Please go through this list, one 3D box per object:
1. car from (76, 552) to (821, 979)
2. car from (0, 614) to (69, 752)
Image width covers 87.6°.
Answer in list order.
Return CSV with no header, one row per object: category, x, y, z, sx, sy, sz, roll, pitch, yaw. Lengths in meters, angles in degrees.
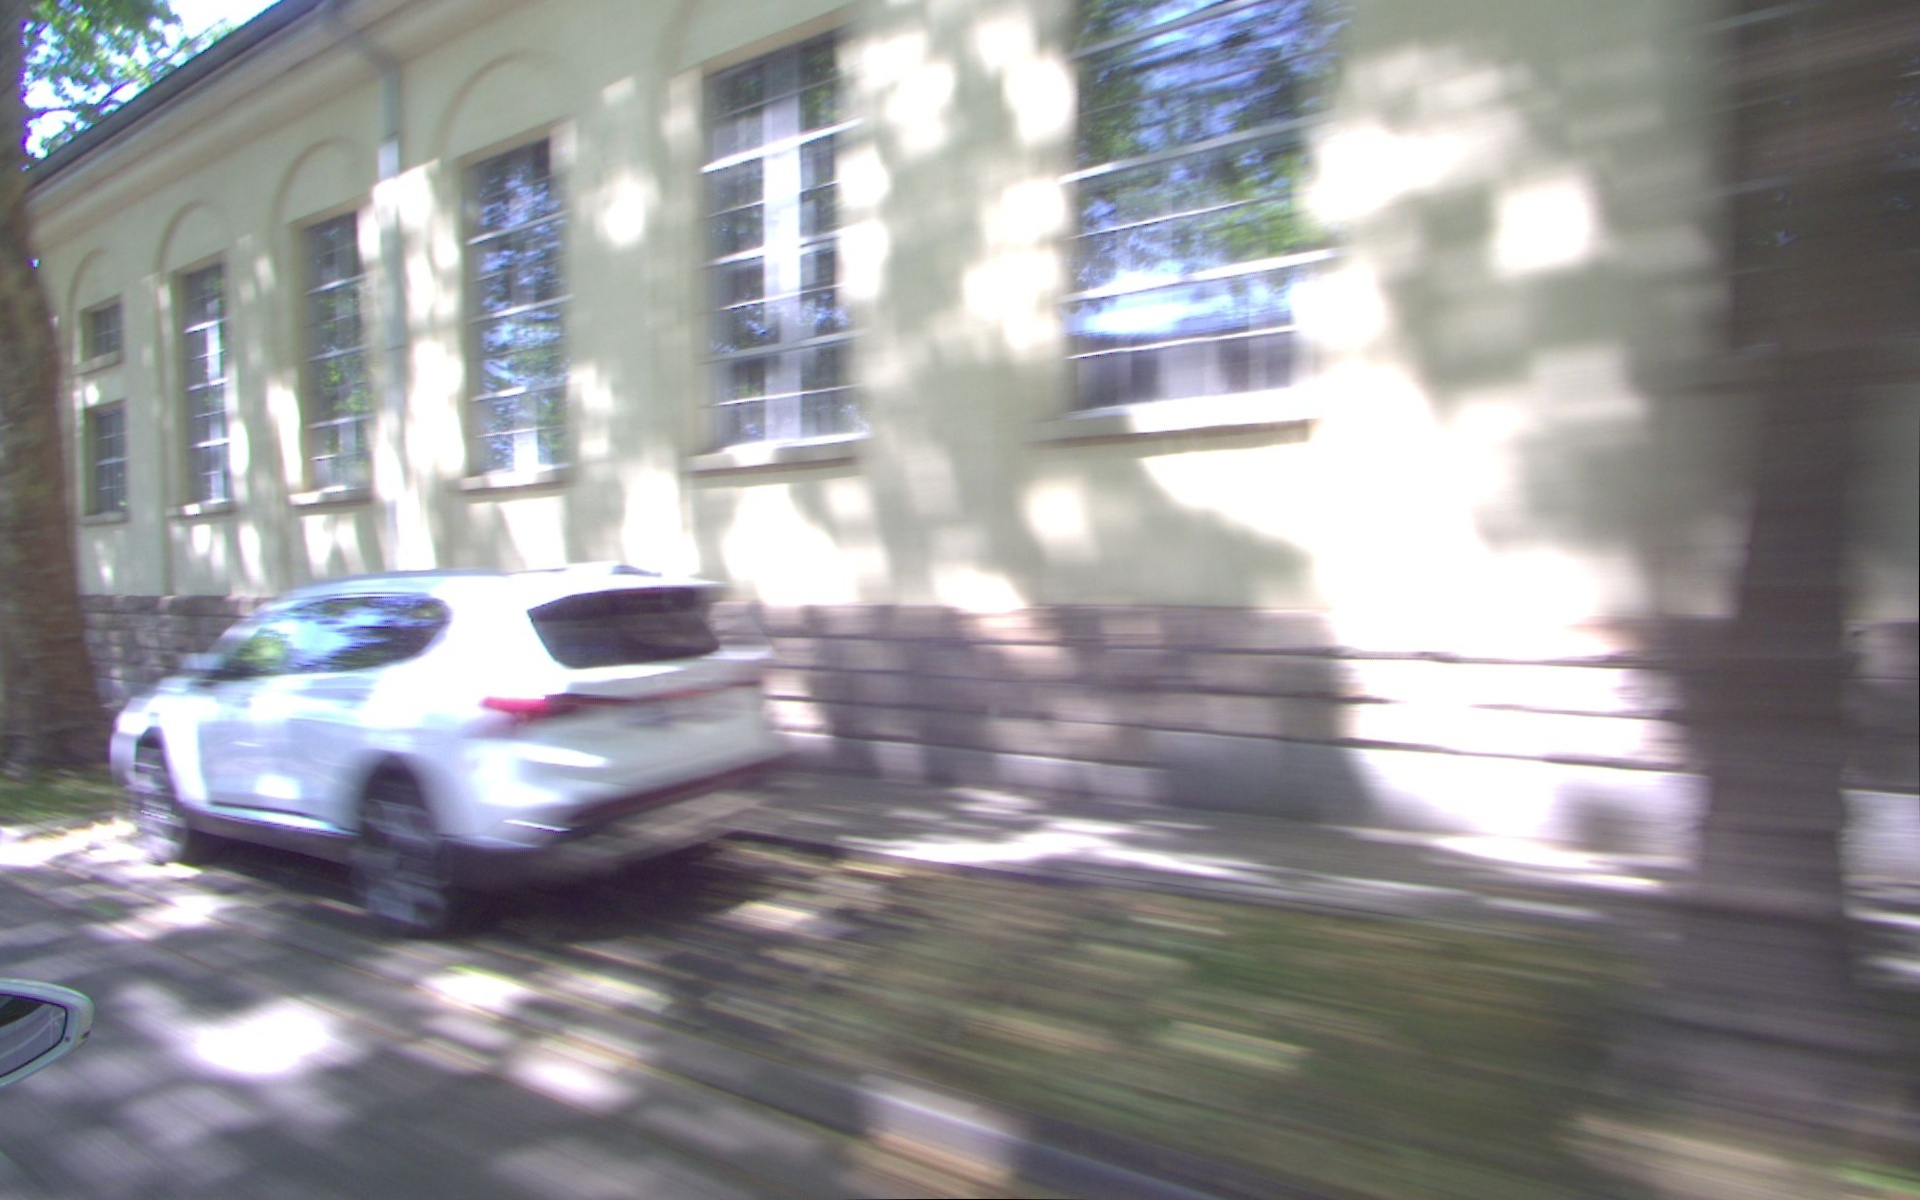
car,-3.239,0.666,6.005,4.684,1.712,1.803,-1,2,32
car,-12.063,0.932,11.398,3.818,1.453,1.763,-1,2,31
